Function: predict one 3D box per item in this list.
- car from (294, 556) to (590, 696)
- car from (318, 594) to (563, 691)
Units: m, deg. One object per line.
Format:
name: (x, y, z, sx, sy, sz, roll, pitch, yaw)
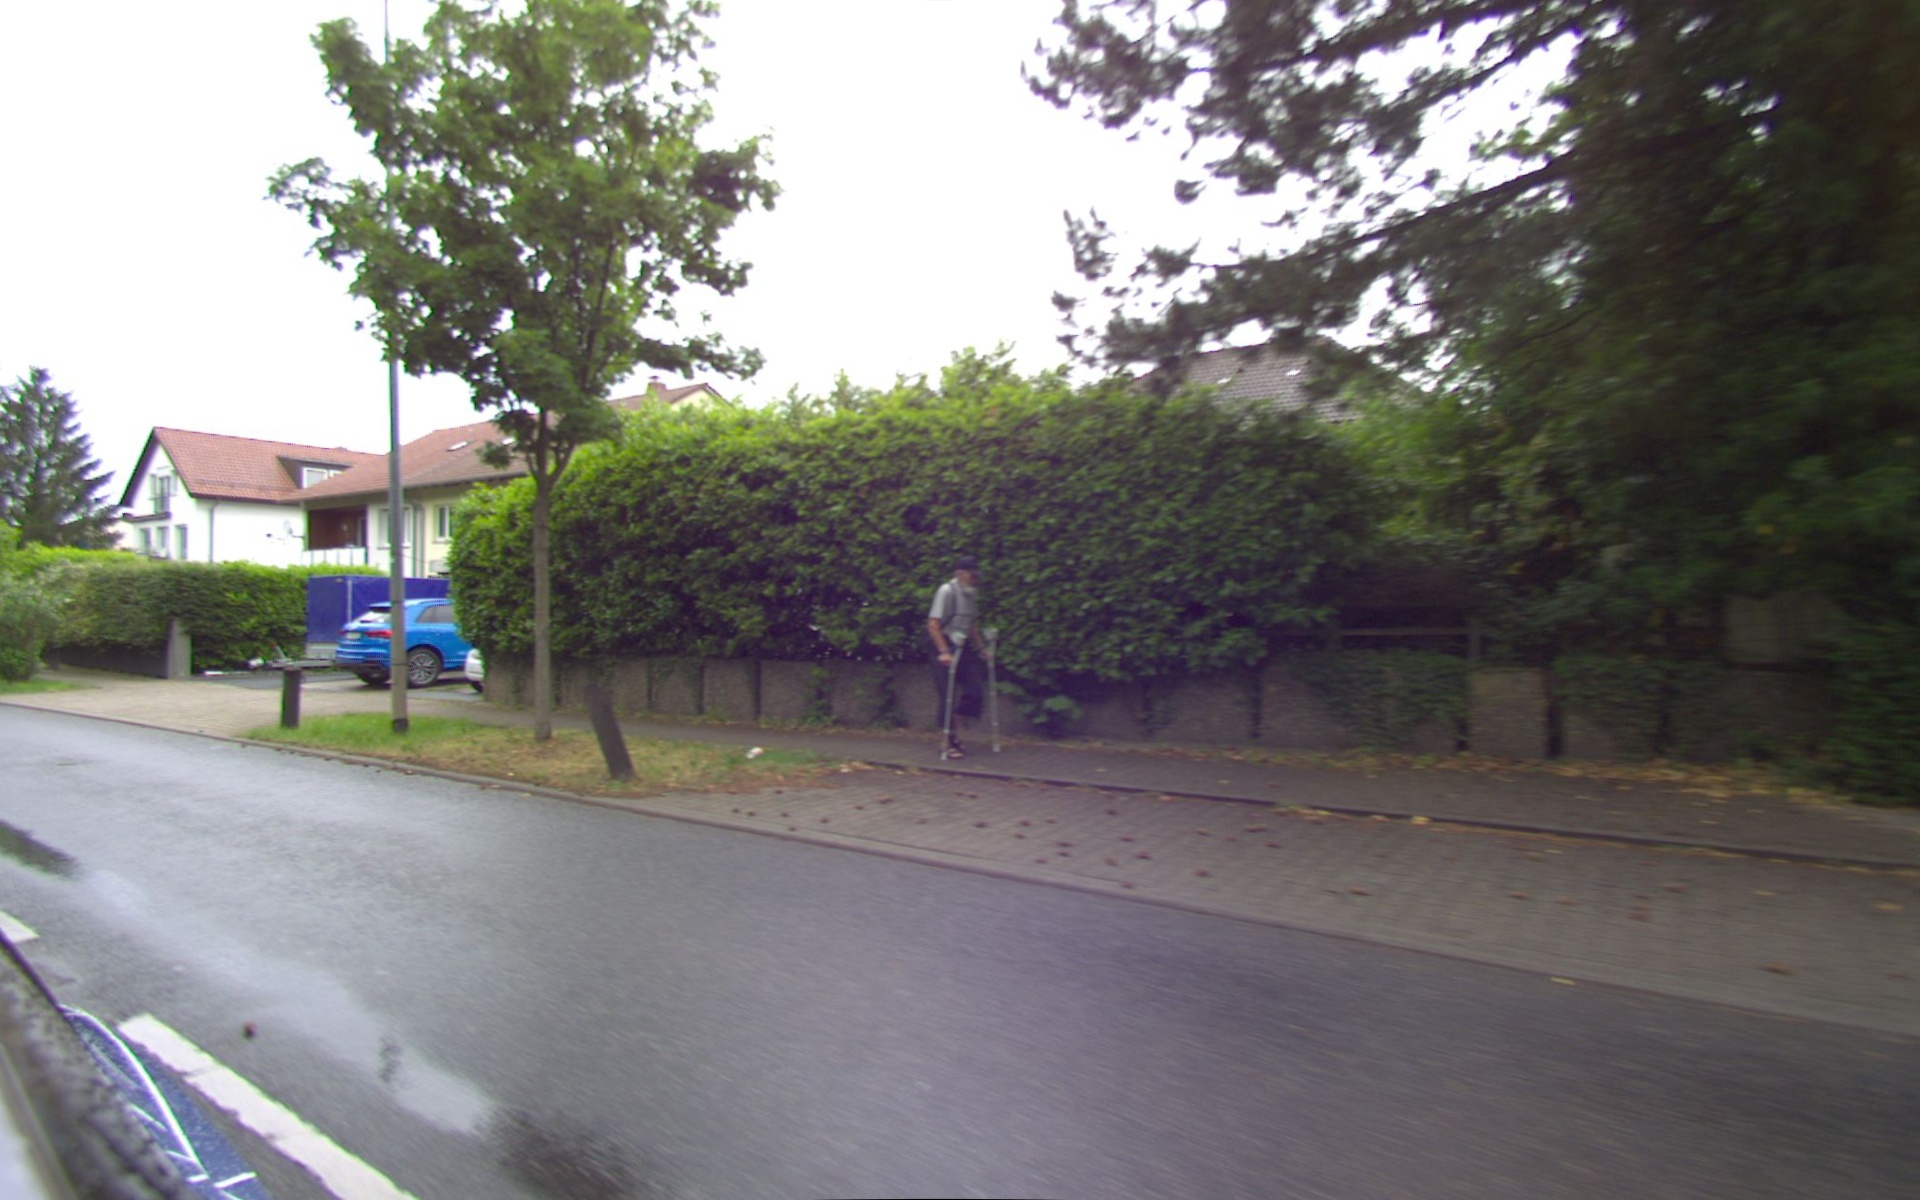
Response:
car: (-8.417, 0.345, 16.766, 1.846, 2.029, 3.955, -1, 1, 33)
car: (-9.926, 0.739, 19.596, 1.813, 1.598, 3.821, -1, 1, 33)
